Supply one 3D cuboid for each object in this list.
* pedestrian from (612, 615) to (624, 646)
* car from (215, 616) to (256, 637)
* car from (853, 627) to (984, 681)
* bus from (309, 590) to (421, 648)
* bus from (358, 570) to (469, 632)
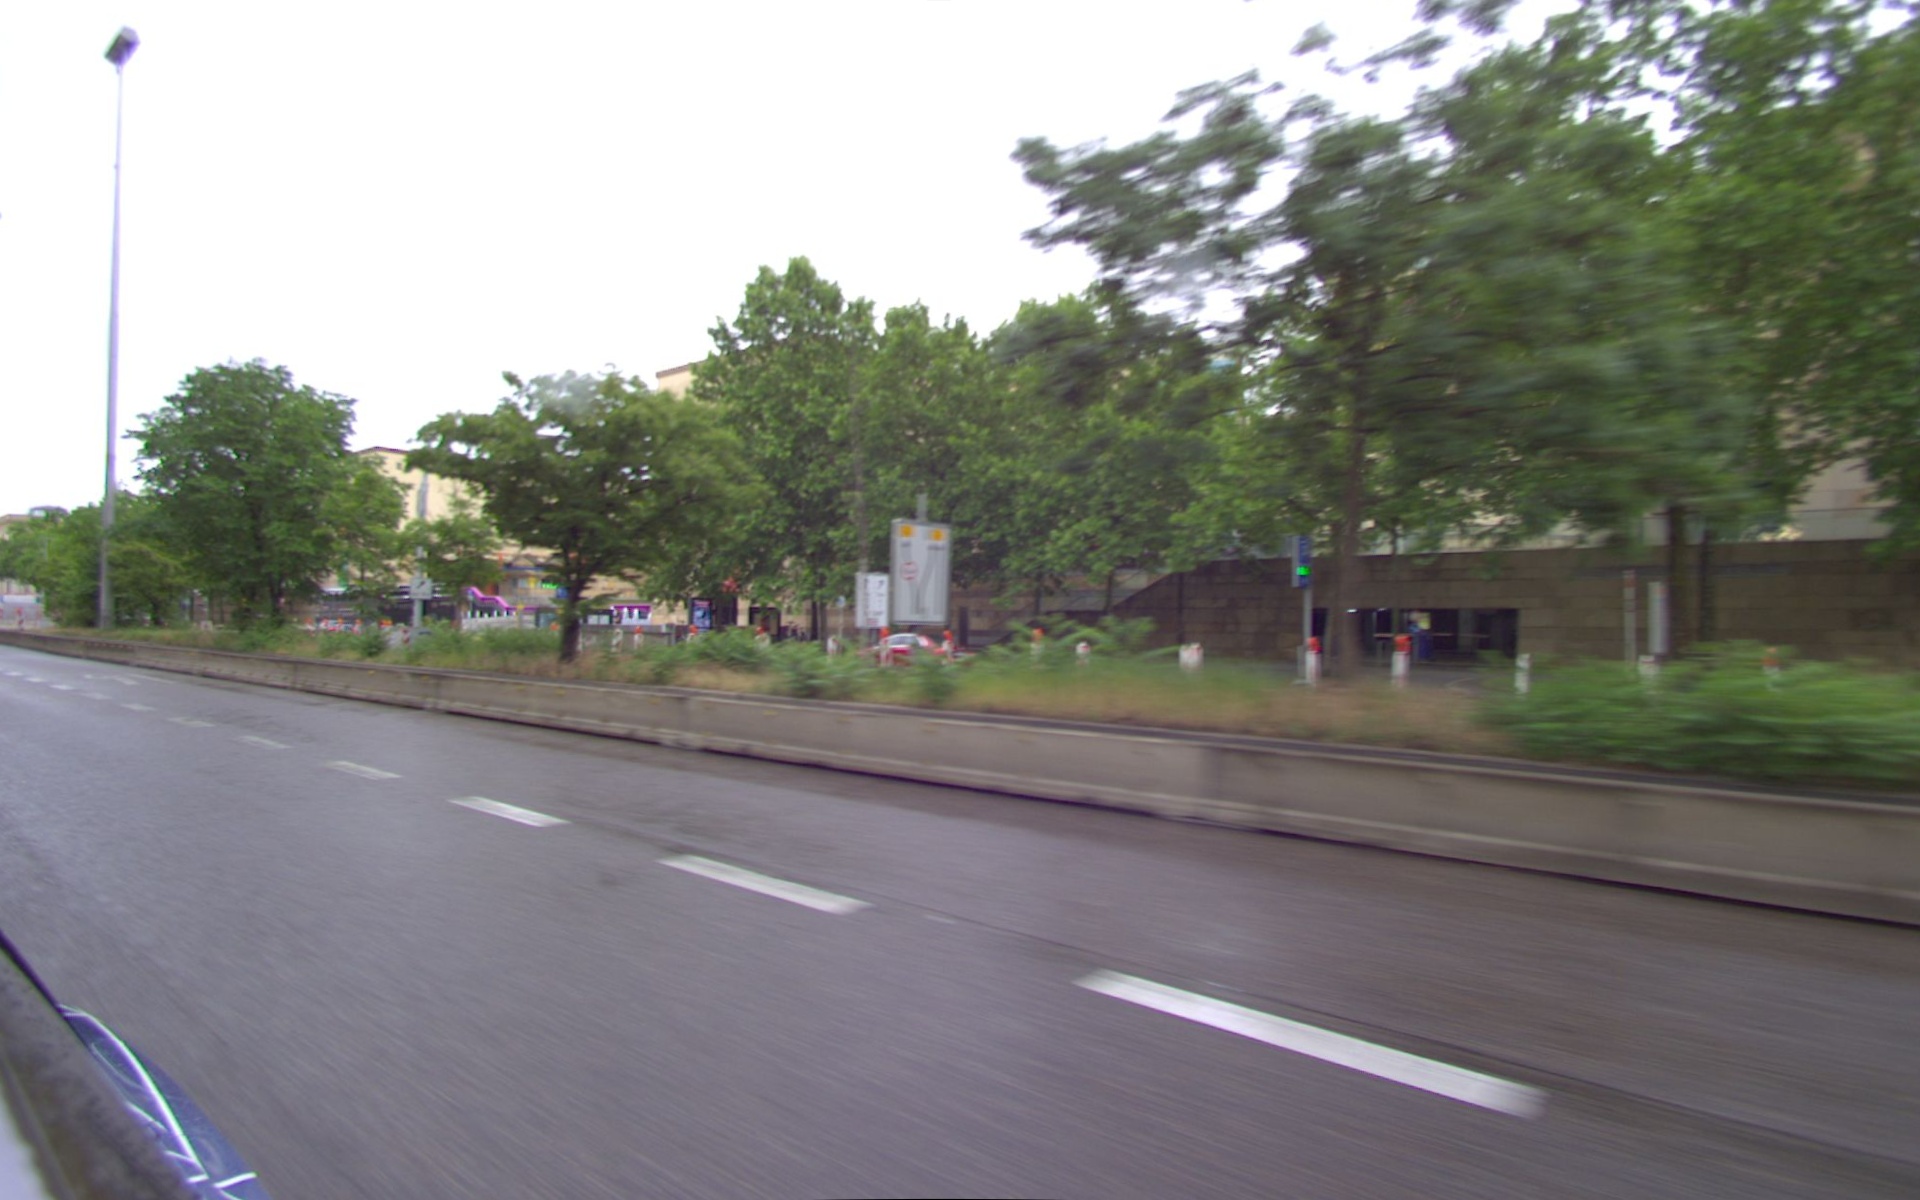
[{"bbox_3d":[-22.588,2.014,66.799,0.511,2.029,0.473,1,-3,39],"label":"pedestrian"},{"bbox_3d":[-54.607,1.991,76.289,3.208,1.512,1.577,0,-1,36],"label":"car"},{"bbox_3d":[-1.394,1.746,33.075,3.998,1.541,1.973,1,-3,41],"label":"car"},{"bbox_3d":[-43.037,1.285,72.850,14.594,3.840,2.774,0,0,42],"label":"bus"},{"bbox_3d":[-41.311,0.106,76.140,13.491,4.284,3.085,0,0,42],"label":"bus"}]
